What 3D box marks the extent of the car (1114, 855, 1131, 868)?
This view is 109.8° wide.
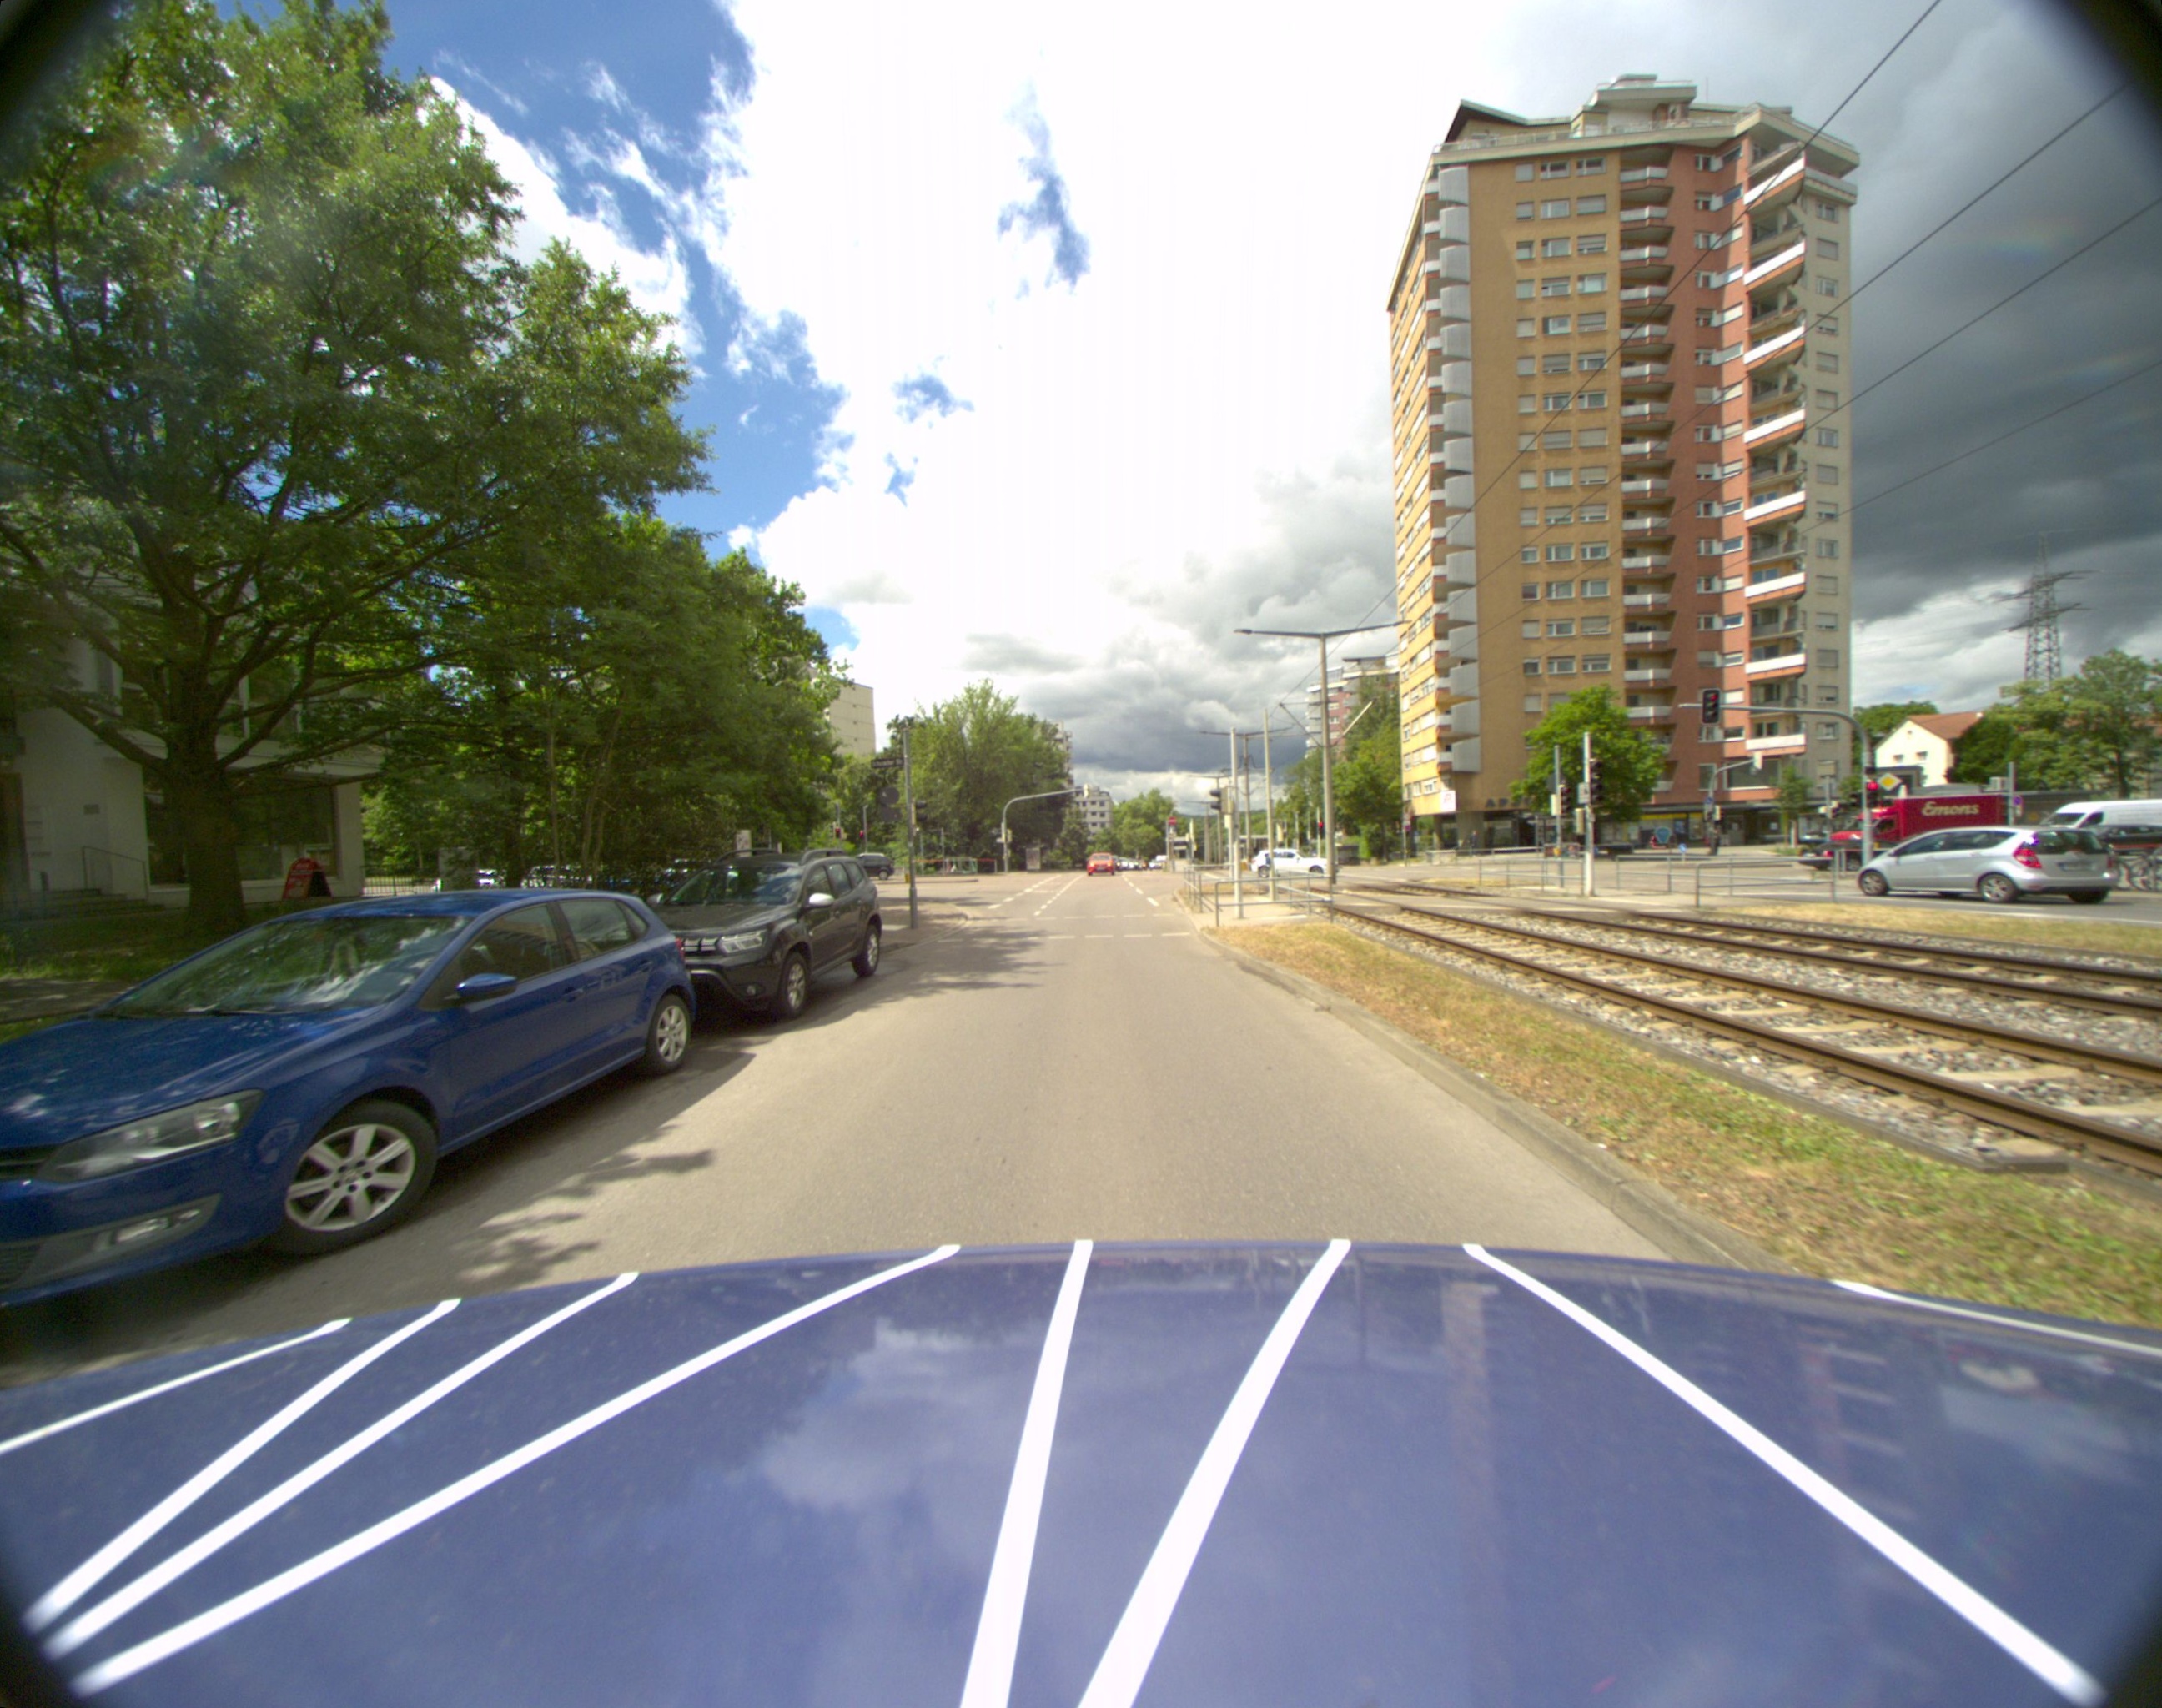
[{"bbox_3d":[4.248,0.750,77.744,1.605,1.207,3.773,-1,0,5],"label":"car"}]

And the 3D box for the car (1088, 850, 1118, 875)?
[{"bbox_3d":[1.467,0.509,48.932,1.819,1.483,4.000,-2,1,3],"label":"car"}]

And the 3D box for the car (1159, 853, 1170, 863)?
[{"bbox_3d":[17.027,0.797,155.195,1.998,2.136,4.001,-1,0,2],"label":"car"}]

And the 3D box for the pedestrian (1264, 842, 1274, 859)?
[{"bbox_3d":[20.111,-0.377,81.276,0.865,1.763,0.748,-1,0,5],"label":"pedestrian"}]

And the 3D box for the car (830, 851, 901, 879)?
[{"bbox_3d":[-12.360,0.612,43.655,3.796,1.529,1.680,-1,0,-17],"label":"car"}]

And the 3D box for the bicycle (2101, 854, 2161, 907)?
[{"bbox_3d":[22.959,0.532,15.765,2.432,1.060,0.705,-1,0,4],"label":"bicycle"}]

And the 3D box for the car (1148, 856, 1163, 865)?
[{"bbox_3d":[10.570,0.885,107.102,1.804,1.207,4.024,-1,0,9],"label":"car"}]

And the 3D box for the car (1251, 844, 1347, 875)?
[{"bbox_3d":[11.011,0.269,38.470,4.263,1.443,1.798,0,3,36],"label":"car"}]

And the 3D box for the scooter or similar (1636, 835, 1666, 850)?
[{"bbox_3d":[41.616,-0.856,55.463,1.751,1.087,0.545,-1,0,1],"label":"scooter or similar"}]

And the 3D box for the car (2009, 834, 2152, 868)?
[{"bbox_3d":[50.123,-0.134,38.187,3.993,1.592,2.002,-1,0,13],"label":"car"}]

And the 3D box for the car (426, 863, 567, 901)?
[{"bbox_3d":[-25.067,1.183,32.752,4.402,1.407,1.950,-1,2,-4],"label":"car"}]

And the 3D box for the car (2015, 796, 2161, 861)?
[{"bbox_3d":[54.783,-1.334,40.593,6.294,3.280,2.002,-1,0,13],"label":"car"}]

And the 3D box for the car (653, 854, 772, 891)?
[{"bbox_3d":[-17.451,0.846,36.127,4.654,1.583,1.922,-1,3,-2],"label":"car"}]

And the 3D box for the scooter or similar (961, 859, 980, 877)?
[{"bbox_3d":[-7.388,0.935,50.928,1.170,1.188,0.449,-1,0,9],"label":"scooter or similar"}]

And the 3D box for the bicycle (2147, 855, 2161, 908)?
[{"bbox_3d":[22.881,0.529,15.014,2.432,1.060,0.705,-1,0,4],"label":"bicycle"}]

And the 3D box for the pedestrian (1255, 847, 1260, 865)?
[{"bbox_3d":[21.618,0.229,93.137,0.532,2.129,0.608,-1,0,9],"label":"pedestrian"}]

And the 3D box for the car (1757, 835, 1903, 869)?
[{"bbox_3d":[33.761,-0.086,34.322,4.671,1.390,1.977,-1,-1,-1],"label":"car"}]

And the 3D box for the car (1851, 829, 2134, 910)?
[{"bbox_3d":[19.194,0.303,16.309,1.822,1.523,3.757,-1,0,7],"label":"car"}]

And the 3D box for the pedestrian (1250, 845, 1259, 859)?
[{"bbox_3d":[20.018,-0.261,87.751,0.865,1.597,0.748,-1,0,5],"label":"pedestrian"}]

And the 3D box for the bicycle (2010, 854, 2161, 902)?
[{"bbox_3d":[23.027,0.540,17.409,2.432,1.060,0.705,-1,0,4],"label":"bicycle"}]

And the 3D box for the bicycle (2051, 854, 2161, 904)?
[{"bbox_3d":[22.959,0.537,16.612,2.432,1.060,0.705,-1,0,4],"label":"bicycle"}]

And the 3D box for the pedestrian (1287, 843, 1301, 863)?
[{"bbox_3d":[18.061,-0.100,64.523,0.910,1.588,0.721,-6,0,5],"label":"pedestrian"}]

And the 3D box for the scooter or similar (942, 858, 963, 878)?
[{"bbox_3d":[-8.322,0.900,49.172,1.212,1.228,0.478,-1,0,-23],"label":"scooter or similar"}]

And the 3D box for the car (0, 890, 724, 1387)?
[{"bbox_3d":[-3.908,1.036,4.517,1.648,1.449,4.076,-1,0,-1],"label":"car"}]

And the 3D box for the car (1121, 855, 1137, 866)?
[{"bbox_3d":[5.468,0.778,86.932,1.605,1.207,3.773,-1,0,7],"label":"car"}]

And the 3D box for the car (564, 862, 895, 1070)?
[{"bbox_3d":[-3.589,0.990,8.830,1.648,1.752,4.570,-1,0,1],"label":"car"}]

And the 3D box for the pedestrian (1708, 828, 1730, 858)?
[{"bbox_3d":[39.028,-0.682,46.488,0.889,1.801,0.642,-1,0,-22],"label":"pedestrian"}]

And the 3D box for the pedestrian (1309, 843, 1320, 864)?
[{"bbox_3d":[17.012,-0.041,55.355,0.647,1.504,0.722,-1,0,26],"label":"pedestrian"}]

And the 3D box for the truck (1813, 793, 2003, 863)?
[{"bbox_3d":[46.100,-1.381,42.575,7.089,3.653,2.549,-1,0,11],"label":"truck"}]

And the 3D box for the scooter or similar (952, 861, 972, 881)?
[{"bbox_3d":[-8.672,1.244,55.422,1.212,1.284,0.534,-4,-2,-29],"label":"scooter or similar"}]

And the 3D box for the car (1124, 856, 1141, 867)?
[{"bbox_3d":[6.663,0.970,97.671,1.844,1.409,4.003,-1,0,9],"label":"car"}]

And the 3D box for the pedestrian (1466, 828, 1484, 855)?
[{"bbox_3d":[28.752,-0.905,55.423,0.920,1.923,0.854,-1,0,5],"label":"pedestrian"}]

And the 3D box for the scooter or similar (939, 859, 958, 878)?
[{"bbox_3d":[-8.745,0.932,50.204,1.185,1.228,0.479,-1,0,-8],"label":"scooter or similar"}]
